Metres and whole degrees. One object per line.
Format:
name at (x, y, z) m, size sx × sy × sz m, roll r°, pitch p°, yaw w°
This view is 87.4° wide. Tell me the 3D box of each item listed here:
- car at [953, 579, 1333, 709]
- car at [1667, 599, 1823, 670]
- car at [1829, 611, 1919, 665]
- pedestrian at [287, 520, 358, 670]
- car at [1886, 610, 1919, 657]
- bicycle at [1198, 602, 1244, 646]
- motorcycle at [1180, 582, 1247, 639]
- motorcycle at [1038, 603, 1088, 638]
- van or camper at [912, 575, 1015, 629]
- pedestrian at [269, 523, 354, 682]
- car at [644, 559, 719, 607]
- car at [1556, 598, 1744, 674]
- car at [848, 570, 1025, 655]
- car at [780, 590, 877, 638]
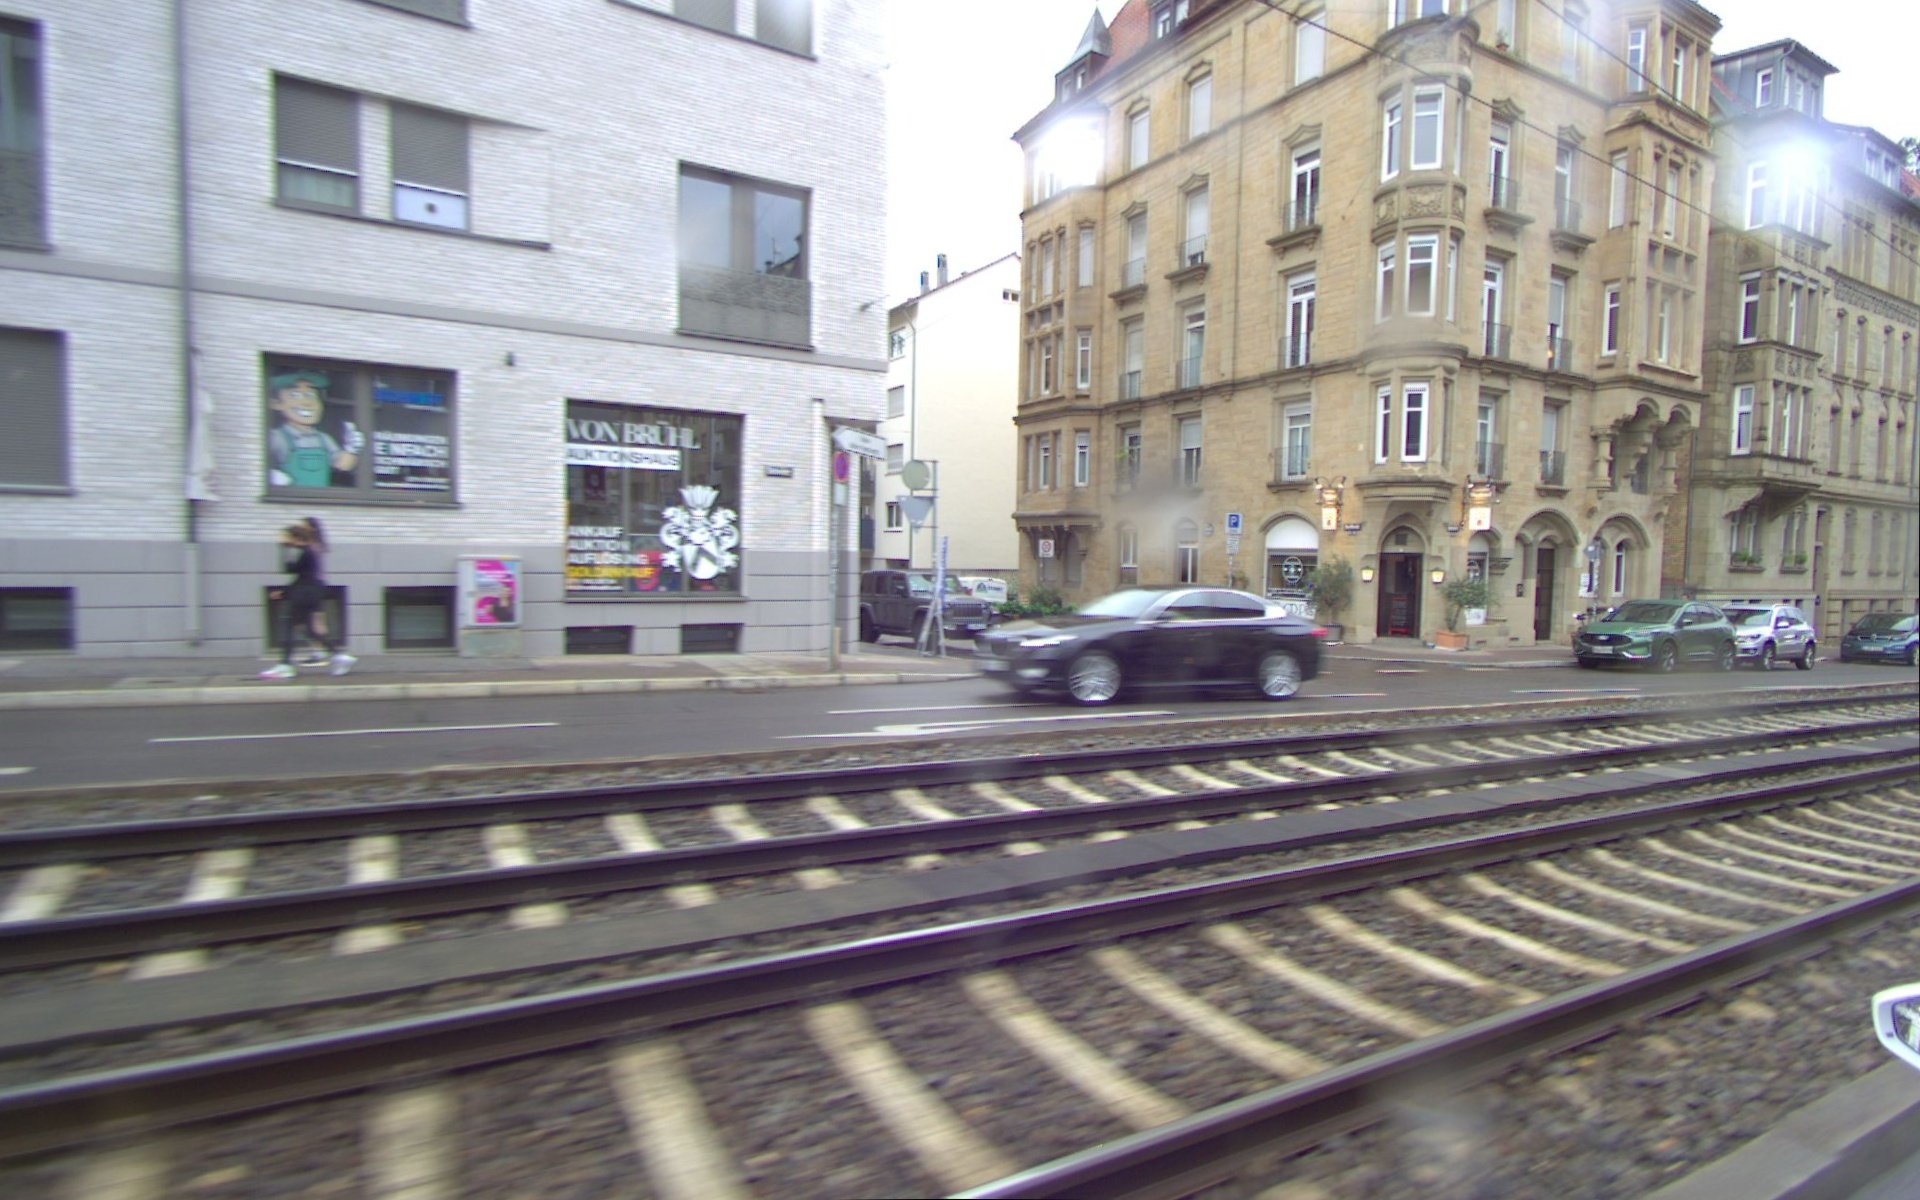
car at (2.507, 0.541, 13.513) m, size 4.800 × 1.477 × 2.079 m, roll 1°, pitch 0°, yaw -29°
car at (20.425, 0.872, 26.108) m, size 4.267 × 1.674 × 1.848 m, roll 1°, pitch 0°, yaw -32°
car at (29.098, 1.161, 31.277) m, size 4.121 × 1.528 × 1.861 m, roll 1°, pitch 0°, yaw -31°
pedestrian at (-7.674, -0.067, 12.114) m, size 0.650 × 1.741 × 0.599 m, roll 1°, pitch 4°, yaw -28°
car at (33.313, 1.151, 34.114) m, size 3.809 × 1.544 × 1.687 m, roll 1°, pitch 0°, yaw -30°
bicycle at (7.003, 0.628, 27.048) m, size 0.608 × 1.134 × 2.136 m, roll 1°, pitch 0°, yaw -1°
motorcycle at (7.498, 0.294, 29.758) m, size 0.616 × 1.641 × 2.064 m, roll 1°, pitch 0°, yaw -32°
motorcycle at (3.728, 0.735, 36.481) m, size 0.699 × 1.247 × 2.064 m, roll 1°, pitch 0°, yaw -31°
van or camper at (0.063, 0.089, 36.177) m, size 1.921 × 1.799 × 3.932 m, roll 1°, pitch -1°, yaw -32°
pedestrian at (-7.361, 0.023, 11.428) m, size 0.736 × 1.741 × 0.599 m, roll 1°, pitch 4°, yaw -28°
car at (-11.946, -0.682, 42.846) m, size 1.927 × 1.895 × 4.759 m, roll 1°, pitch 0°, yaw -30°
car at (16.182, 0.822, 23.530) m, size 4.375 × 1.623 × 1.850 m, roll 1°, pitch 0°, yaw -29°
car at (-0.673, 0.229, 23.652) m, size 2.013 × 1.751 × 4.663 m, roll 1°, pitch 1°, yaw -33°
car at (-3.703, 0.374, 27.809) m, size 1.415 × 1.240 × 3.496 m, roll 1°, pitch 0°, yaw -30°
